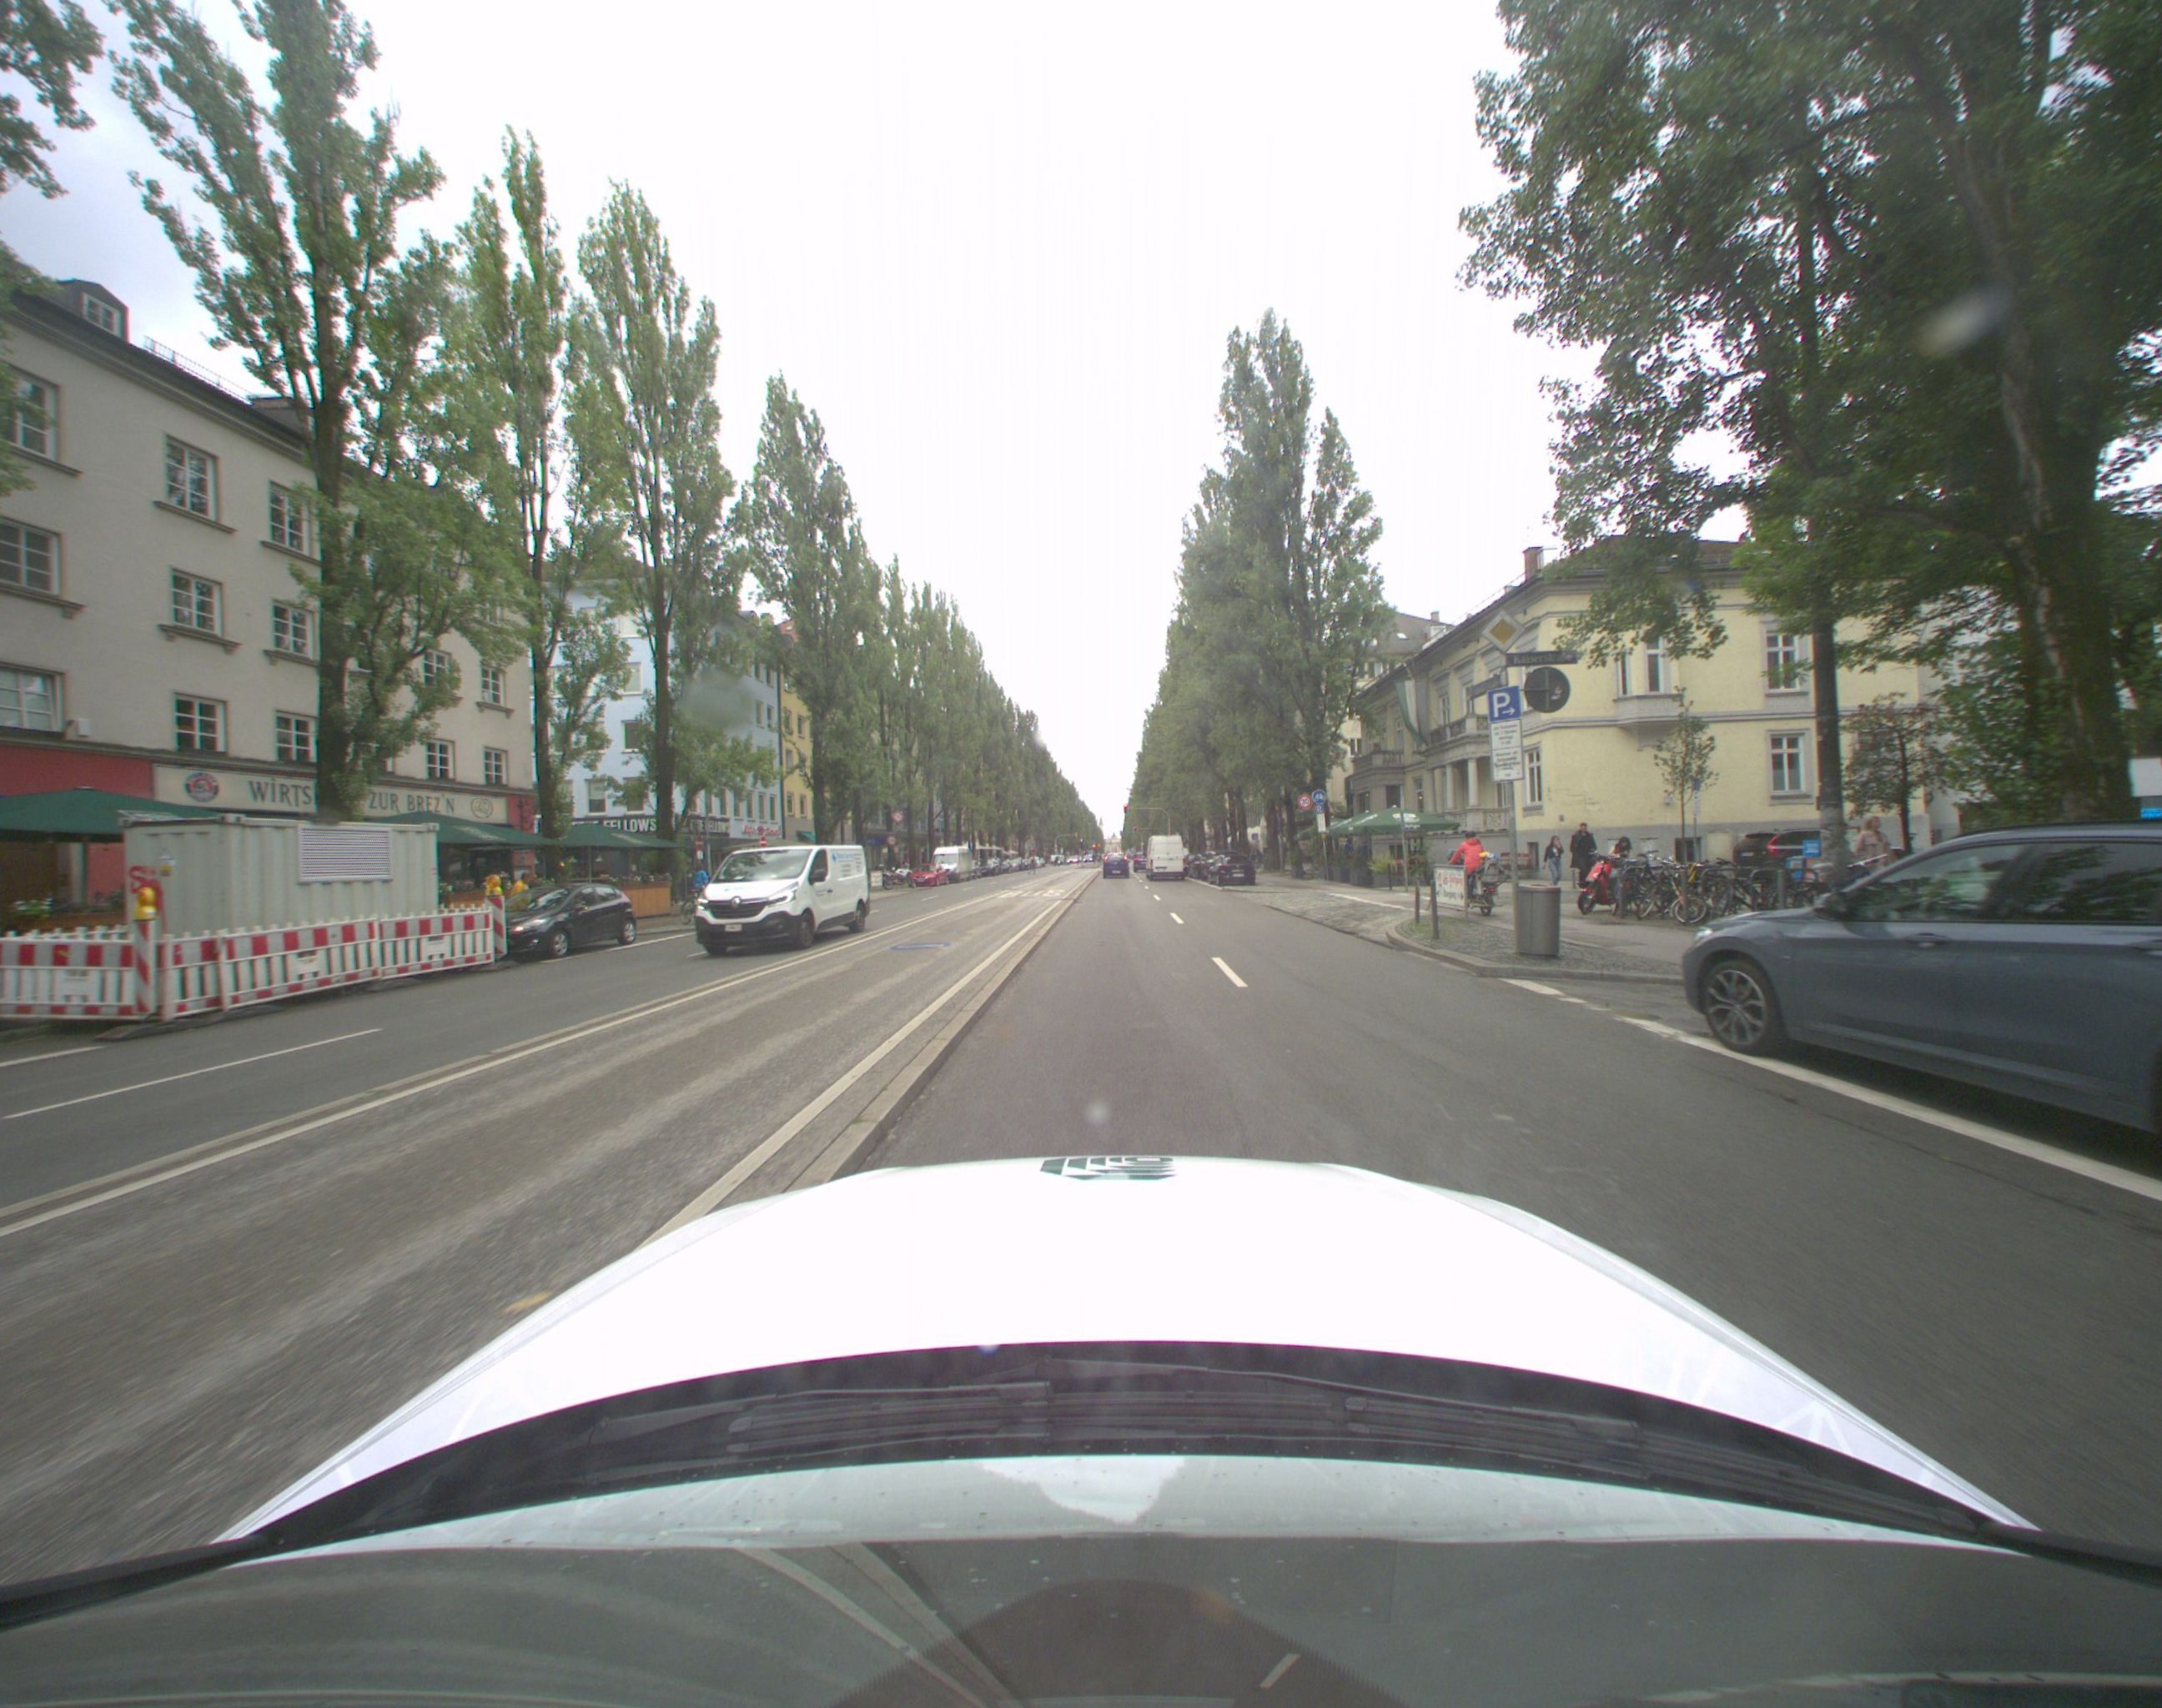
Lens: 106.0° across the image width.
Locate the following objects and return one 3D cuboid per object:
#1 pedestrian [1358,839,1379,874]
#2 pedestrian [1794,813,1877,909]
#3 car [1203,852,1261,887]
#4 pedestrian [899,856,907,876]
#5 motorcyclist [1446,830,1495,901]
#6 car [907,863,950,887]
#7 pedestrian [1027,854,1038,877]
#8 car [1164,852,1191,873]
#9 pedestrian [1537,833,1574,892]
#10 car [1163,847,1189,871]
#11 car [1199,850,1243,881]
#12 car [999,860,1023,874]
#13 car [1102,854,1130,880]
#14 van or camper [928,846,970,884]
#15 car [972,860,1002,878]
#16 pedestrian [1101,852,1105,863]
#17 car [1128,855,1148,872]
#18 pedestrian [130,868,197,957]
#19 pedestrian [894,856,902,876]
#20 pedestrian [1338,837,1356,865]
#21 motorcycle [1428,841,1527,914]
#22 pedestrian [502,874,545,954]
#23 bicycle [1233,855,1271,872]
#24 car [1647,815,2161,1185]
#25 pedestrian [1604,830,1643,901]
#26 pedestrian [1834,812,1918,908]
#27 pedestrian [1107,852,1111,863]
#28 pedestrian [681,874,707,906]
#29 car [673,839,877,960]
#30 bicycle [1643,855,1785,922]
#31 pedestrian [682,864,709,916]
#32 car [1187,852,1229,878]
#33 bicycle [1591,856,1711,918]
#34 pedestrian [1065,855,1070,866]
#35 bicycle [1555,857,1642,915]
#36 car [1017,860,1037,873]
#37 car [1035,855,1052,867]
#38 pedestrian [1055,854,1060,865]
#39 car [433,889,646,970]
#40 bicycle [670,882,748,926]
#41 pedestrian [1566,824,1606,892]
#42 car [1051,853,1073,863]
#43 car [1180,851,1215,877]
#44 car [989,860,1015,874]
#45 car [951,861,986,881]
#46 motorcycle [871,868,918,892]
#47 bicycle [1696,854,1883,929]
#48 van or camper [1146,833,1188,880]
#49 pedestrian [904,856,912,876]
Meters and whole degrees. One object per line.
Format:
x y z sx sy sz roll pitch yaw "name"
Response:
15.573 0.149 44.155 0.758 1.853 0.740 -3 0 -1 "pedestrian"
13.337 0.116 14.409 0.684 1.628 0.776 -2 0 -1 "pedestrian"
6.960 0.673 37.917 1.937 1.467 4.001 -3 0 1 "car"
-17.090 1.158 78.146 0.580 1.856 0.675 -2 0 1 "pedestrian"
8.049 0.236 16.853 0.562 1.406 0.765 -3 0 -2 "motorcyclist"
-9.521 1.296 51.167 1.788 1.429 4.001 -1 -1 2 "car"
-4.364 1.013 73.715 0.804 2.013 0.722 -2 0 9 "pedestrian"
7.564 0.704 64.218 1.756 1.596 4.001 -1 -1 2 "car"
13.536 0.247 23.257 0.644 1.647 0.768 -1 -1 11 "pedestrian"
8.158 0.422 70.231 1.798 1.992 4.001 -1 -1 2 "car"
7.439 0.576 43.567 1.778 1.525 3.942 -2 0 2 "car"
-7.687 1.456 90.001 1.984 1.420 4.006 -1 -1 5 "car"
2.293 0.844 52.829 1.752 1.619 3.749 -1 -1 3 "car"
-9.173 0.743 56.870 1.986 2.458 4.253 -2 0 2 "van or camper"
-8.385 1.354 73.136 1.985 1.486 4.003 -1 -1 3 "car"
3.523 0.562 130.220 0.551 1.716 0.493 -3 0 2 "pedestrian"
4.749 0.750 67.824 1.498 1.313 3.284 -2 0 2 "car"
-19.809 1.247 17.599 0.636 1.862 0.648 -2 0 1 "pedestrian"
-16.976 1.115 75.566 0.580 1.856 0.675 -2 0 1 "pedestrian"
17.061 -0.177 52.255 0.805 1.755 0.939 -3 0 34 "pedestrian"
8.111 0.456 16.778 0.824 1.370 2.251 -3 0 -2 "motorcycle"
-12.207 1.294 17.852 0.479 1.701 0.576 -2 0 1 "pedestrian"
11.194 0.645 53.430 0.764 1.023 2.706 -2 0 -33 "bicycle"
5.415 0.594 4.458 1.618 1.565 4.372 -3 0 1 "car"
12.884 0.276 19.367 0.662 1.650 0.630 -2 0 29 "pedestrian"
14.176 0.103 14.549 0.684 1.628 0.776 -2 0 -1 "pedestrian"
4.507 0.499 131.381 0.551 1.716 0.493 -3 0 2 "pedestrian"
-19.736 1.843 41.565 0.791 1.542 0.898 -2 0 1 "pedestrian"
-5.873 0.801 16.418 1.986 1.934 4.920 -4 -1 2 "car"
10.876 0.573 14.012 2.053 1.023 0.689 -2 0 -9 "bicycle"
-13.423 1.248 28.359 0.666 1.787 0.826 -1 -1 -14 "pedestrian"
7.476 0.669 48.290 1.986 1.464 4.001 -1 -1 2 "car"
10.603 0.596 15.158 2.059 1.023 0.687 -2 0 -18 "bicycle"
-2.164 1.013 129.770 0.551 1.716 0.493 -3 0 2 "pedestrian"
10.396 0.619 16.335 2.069 1.023 0.684 -2 0 -34 "bicycle"
-6.592 1.504 99.822 1.922 1.486 4.114 -3 0 4 "car"
-5.411 1.069 118.954 1.808 1.531 3.803 -6 -1 5 "car"
-3.798 0.836 131.484 0.551 1.716 0.493 -3 0 2 "pedestrian"
-10.924 1.458 16.783 1.803 1.250 3.701 -2 0 1 "car"
-10.642 1.437 23.336 1.852 1.137 0.674 -3 0 -1 "bicycle"
14.382 0.118 23.212 0.696 1.873 0.768 -1 -1 11 "pedestrian"
-3.564 0.743 151.785 3.982 1.745 1.996 -1 -1 -6 "car"
7.500 0.673 52.696 1.798 1.596 4.001 -1 -1 2 "car"
-8.159 1.374 84.445 1.984 1.420 4.006 -1 -1 5 "car"
-8.874 1.332 64.317 1.985 1.475 4.003 -1 -1 3 "car"
-9.977 1.370 43.835 1.231 1.140 3.724 -2 0 7 "motorcycle"
10.568 0.550 12.214 2.041 1.023 0.693 -2 0 9 "bicycle"
4.842 0.203 46.465 2.027 2.475 4.001 -2 -2 2 "van or camper"
-15.884 1.082 74.778 0.580 1.856 0.675 -2 0 1 "pedestrian"
